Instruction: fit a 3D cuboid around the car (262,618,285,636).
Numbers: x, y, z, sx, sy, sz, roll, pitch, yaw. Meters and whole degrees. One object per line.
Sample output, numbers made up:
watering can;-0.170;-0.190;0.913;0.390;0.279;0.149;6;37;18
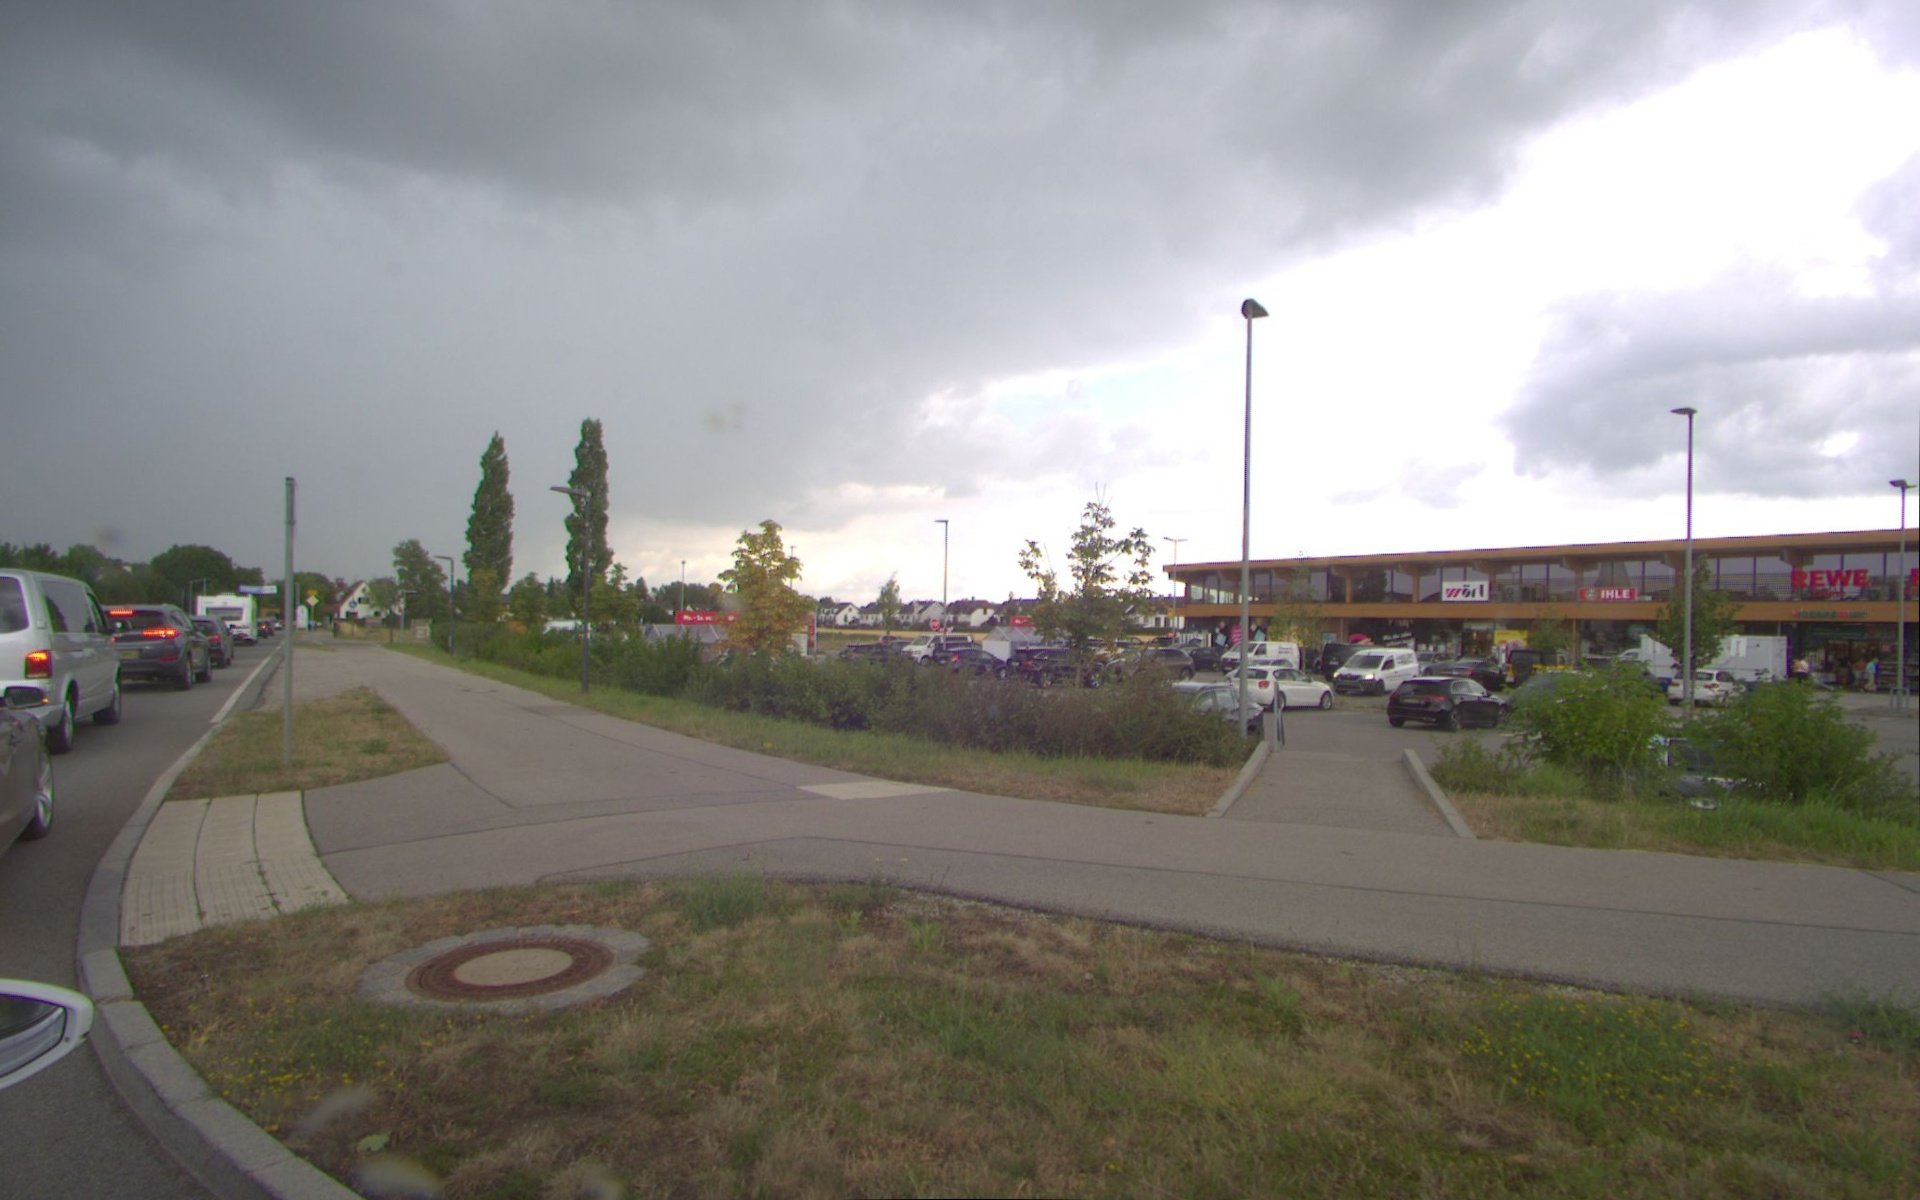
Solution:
car;-62.972;2.458;91.925;1.597;1.651;3.594;2;-2;-33

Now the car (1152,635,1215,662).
car;15.385;3.360;68.962;3.946;1.794;1.989;2;-1;-32

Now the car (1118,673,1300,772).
car;5.242;2.460;20.855;3.960;1.628;1.773;2;0;-43

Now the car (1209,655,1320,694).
car;12.679;3.052;41.549;4.728;1.503;1.892;2;-2;-35

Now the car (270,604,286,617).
car;-120.930;1.892;177.593;1.971;2.240;3.980;2;-1;-29

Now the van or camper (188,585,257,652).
van or camper;-39.320;1.047;53.571;2.600;3.365;6.778;2;-2;-34

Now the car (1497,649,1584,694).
car;25.438;3.110;43.847;3.949;1.878;1.761;3;-2;-34

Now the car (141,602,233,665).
car;-21.690;0.916;28.218;1.759;1.639;3.975;1;-1;-34

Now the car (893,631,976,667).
car;-1.494;2.962;61.191;5.076;2.040;1.980;2;0;-45

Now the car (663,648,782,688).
car;-9.440;2.657;39.834;4.192;1.458;1.987;2;-2;-34

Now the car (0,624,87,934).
car;-5.667;0.818;4.852;1.768;1.409;4.103;2;-2;-36

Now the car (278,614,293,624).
car;-93.541;2.623;138.976;1.597;1.427;3.594;2;-2;-33

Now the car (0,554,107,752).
car;-10.993;0.541;11.233;1.851;1.959;3.971;2;-2;-37

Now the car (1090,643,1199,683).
car;8.497;2.858;45.919;4.927;1.686;1.987;2;-1;-34

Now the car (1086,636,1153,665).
car;10.405;3.296;65.445;3.944;1.861;1.990;2;-2;-30

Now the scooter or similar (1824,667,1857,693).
scooter or similar;41.485;3.782;47.181;0.784;1.140;0.996;5;-3;-35

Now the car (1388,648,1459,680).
car;24.970;3.416;53.934;4.177;1.633;1.754;3;-2;-38

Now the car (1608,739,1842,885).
car;10.839;2.921;14.493;1.553;1.390;3.728;1;-2;19

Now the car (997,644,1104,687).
car;3.888;2.788;42.638;4.409;1.727;1.792;3;-2;-34

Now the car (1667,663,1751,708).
car;28.805;3.240;38.462;3.956;1.550;1.717;2;-1;-40

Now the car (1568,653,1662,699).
car;26.628;3.066;40.699;4.069;1.746;1.840;3;-3;-35

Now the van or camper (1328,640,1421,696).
van or camper;17.098;2.747;41.163;4.759;2.125;1.748;3;-2;-44

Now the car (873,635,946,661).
car;-3.193;3.033;63.250;4.268;1.598;1.757;2;-1;-32

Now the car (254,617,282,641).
car;-55.175;2.276;79.872;1.597;1.817;3.976;2;-2;-33

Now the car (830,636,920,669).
car;-4.651;2.877;54.759;4.513;1.686;1.987;2;-1;-34

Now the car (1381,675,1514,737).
car;13.575;2.880;27.834;3.955;1.416;1.822;2;-1;-39

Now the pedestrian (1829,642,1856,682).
pedestrian;45.898;3.208;52.065;0.797;2.040;0.924;1;-1;-40

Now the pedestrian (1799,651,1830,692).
pedestrian;40.962;3.416;47.999;0.784;1.921;0.922;4;-3;-35

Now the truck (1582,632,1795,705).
truck;32.459;2.952;44.903;2.943;2.843;7.200;2;-1;-38

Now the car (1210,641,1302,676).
car;16.357;3.217;55.261;5.236;1.854;1.988;3;-2;-34

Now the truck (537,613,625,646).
truck;-23.579;1.845;62.329;4.757;1.896;1.985;3;-2;-38

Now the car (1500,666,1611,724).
car;18.472;2.890;31.010;3.956;1.573;1.717;2;-1;-40

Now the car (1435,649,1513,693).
car;23.792;3.250;46.307;3.955;1.878;1.758;2;-2;-39

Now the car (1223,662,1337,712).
car;10.593;2.844;33.083;3.951;1.504;1.670;3;-2;-39

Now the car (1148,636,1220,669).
car;13.585;3.186;60.759;3.944;1.861;1.990;2;-1;-30

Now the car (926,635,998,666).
car;0.117;2.933;58.337;3.949;1.727;1.705;3;-2;-34

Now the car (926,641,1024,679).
car;0.737;2.834;47.865;4.361;1.686;1.987;2;-1;-34

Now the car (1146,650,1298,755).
car;3.861;1.405;14.344;1.552;1.221;3.749;2;-3;23

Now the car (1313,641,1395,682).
car;20.174;3.144;51.197;3.951;1.860;1.987;5;-3;-34

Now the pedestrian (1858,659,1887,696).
pedestrian;42.943;3.634;47.141;0.737;1.679;0.803;1;-1;21

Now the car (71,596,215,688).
car;-16.198;0.823;20.044;1.759;1.638;3.976;2;-2;-33
